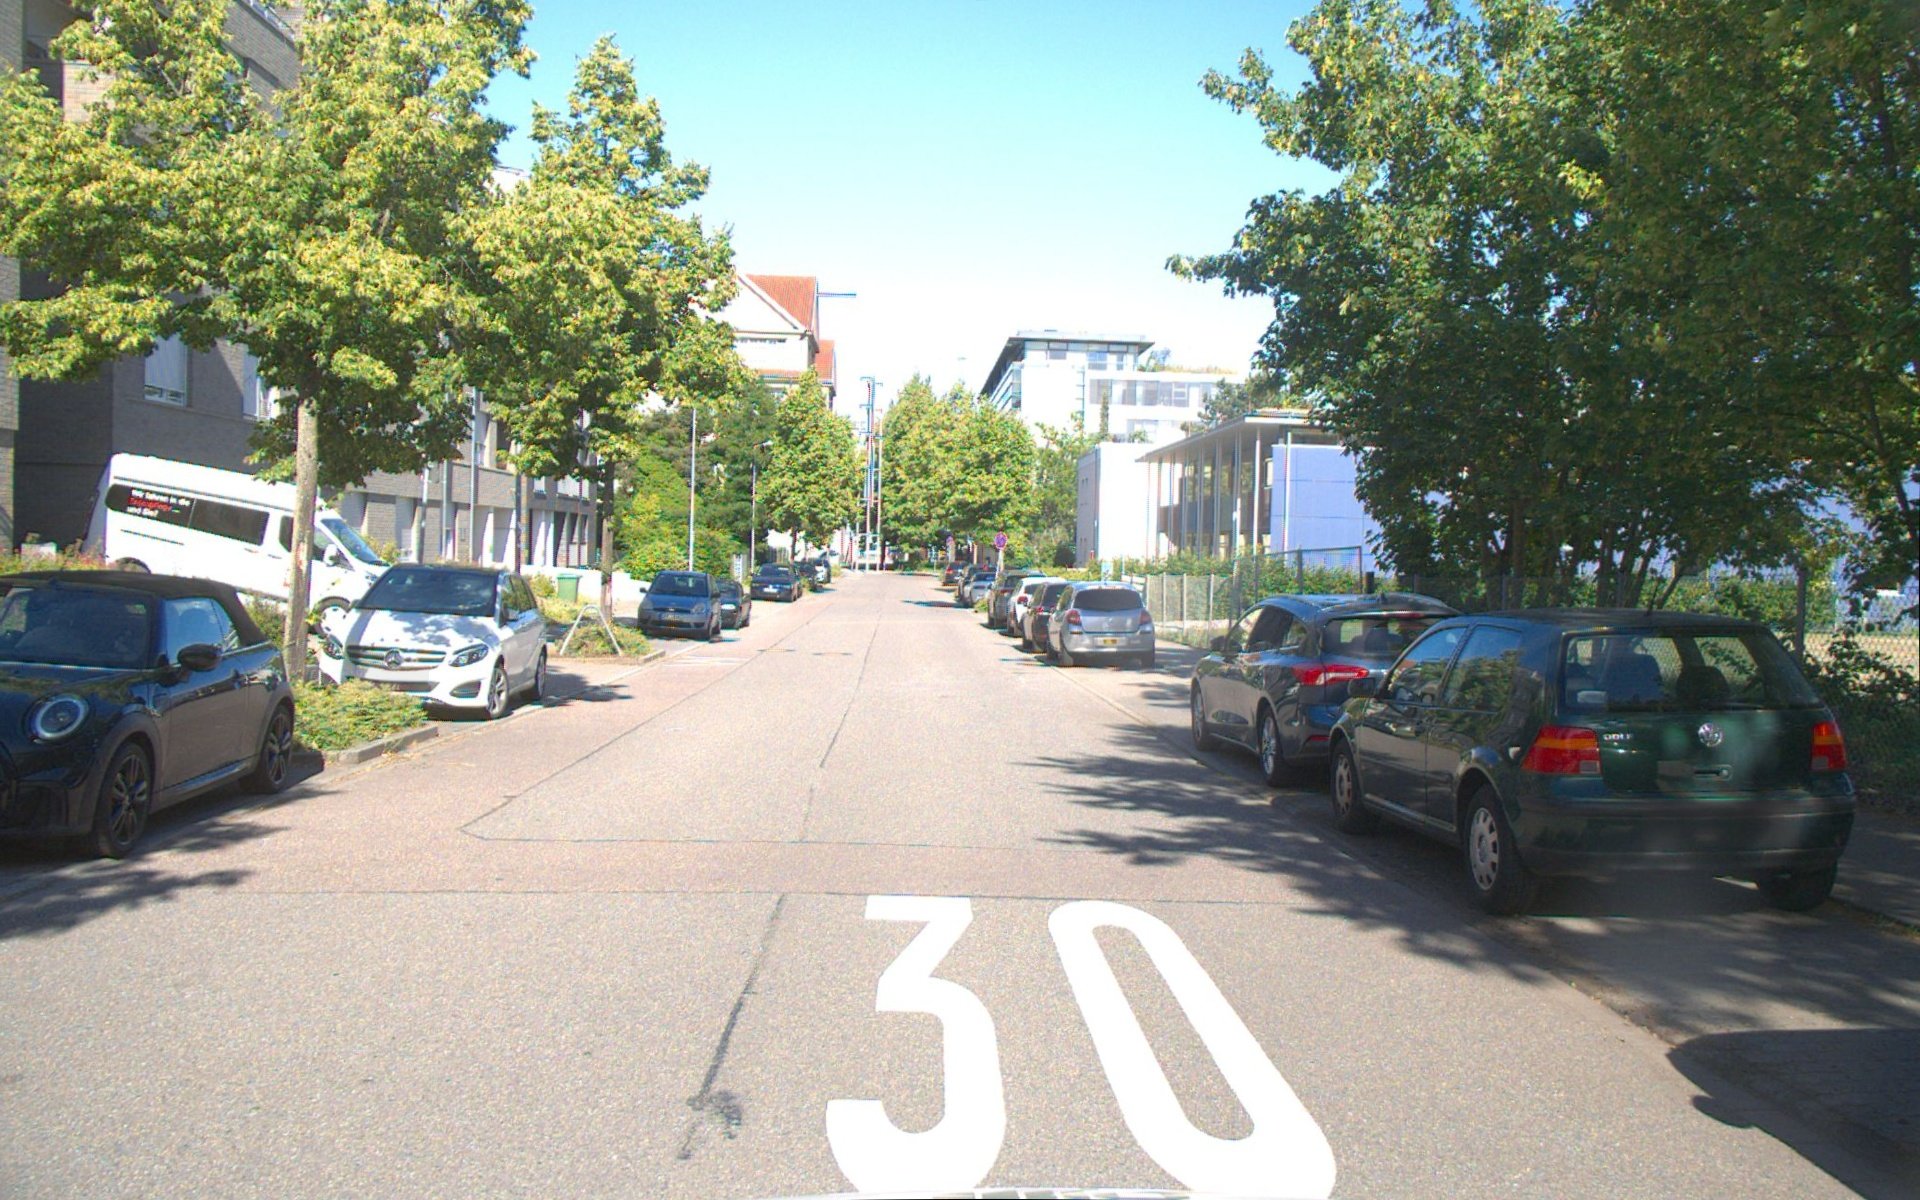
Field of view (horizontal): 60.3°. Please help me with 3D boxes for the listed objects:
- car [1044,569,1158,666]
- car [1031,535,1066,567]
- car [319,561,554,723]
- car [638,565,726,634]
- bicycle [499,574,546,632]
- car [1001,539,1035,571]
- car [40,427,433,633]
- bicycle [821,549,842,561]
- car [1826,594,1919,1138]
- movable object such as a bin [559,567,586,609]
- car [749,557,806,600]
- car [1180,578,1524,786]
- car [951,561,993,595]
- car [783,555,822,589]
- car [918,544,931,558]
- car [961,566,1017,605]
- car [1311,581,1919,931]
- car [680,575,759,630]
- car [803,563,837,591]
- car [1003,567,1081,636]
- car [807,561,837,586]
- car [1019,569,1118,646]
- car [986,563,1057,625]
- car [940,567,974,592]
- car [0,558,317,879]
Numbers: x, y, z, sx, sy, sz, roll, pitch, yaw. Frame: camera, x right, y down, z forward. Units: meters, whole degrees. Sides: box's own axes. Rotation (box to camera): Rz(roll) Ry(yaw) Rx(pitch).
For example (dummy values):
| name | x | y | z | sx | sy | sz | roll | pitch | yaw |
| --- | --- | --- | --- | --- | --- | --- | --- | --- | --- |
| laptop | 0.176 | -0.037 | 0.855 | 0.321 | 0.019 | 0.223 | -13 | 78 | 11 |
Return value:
| name | x | y | z | sx | sy | sz | roll | pitch | yaw |
| --- | --- | --- | --- | --- | --- | --- | --- | --- | --- |
| car | 2.545 | 0.275 | 30.616 | 1.629 | 1.539 | 4.000 | 1 | 2 | -2 |
| car | 5.875 | -3.269 | 110.012 | 1.953 | 2.048 | 3.999 | 1 | 2 | -2 |
| car | -5.688 | 0.365 | 18.470 | 1.627 | 1.559 | 4.283 | 1 | 1 | -6 |
| car | -6.429 | -0.049 | 38.509 | 1.579 | 1.490 | 3.872 | 1 | 1 | -3 |
| bicycle | -9.049 | 0.050 | 34.276 | 0.277 | 1.144 | 1.986 | 2 | 1 | 4 |
| car | 3.843 | -2.985 | 109.925 | 1.983 | 2.048 | 3.999 | 1 | 1 | -2 |
| car | -11.855 | -1.128 | 27.448 | 5.346 | 2.422 | 1.920 | 9 | 0 | -6 |
| bicycle | -9.402 | -3.292 | 120.984 | 1.439 | 0.857 | 0.335 | 1 | 2 | -6 |
| car | 3.428 | 0.738 | 2.937 | 1.586 | 1.476 | 4.090 | 1 | 0 | -1 |
| movable object such as a bin | -10.722 | -0.339 | 45.788 | 0.595 | 1.109 | 0.636 | 1 | 2 | -4 |
| car | -7.375 | -0.883 | 67.158 | 1.725 | 1.553 | 4.001 | 4 | 1 | 1 |
| car | 3.137 | 0.565 | 14.181 | 1.643 | 1.462 | 4.437 | 1 | 1 | -3 |
| car | 0.566 | -1.093 | 80.159 | 1.797 | 1.542 | 3.879 | 1 | 1 | -3 |
| car | -7.907 | -1.404 | 83.267 | 1.660 | 1.633 | 3.941 | 1 | 1 | -2 |
| car | -5.472 | -7.586 | 253.502 | 1.953 | 2.048 | 4.000 | 1 | 2 | -2 |
| car | 1.145 | -0.604 | 66.840 | 1.794 | 1.447 | 4.229 | -1 | 1 | -5 |
| car | 3.364 | 0.664 | 9.280 | 1.788 | 1.497 | 4.067 | 1 | 1 | -2 |
| car | -6.338 | 0.035 | 43.917 | 1.567 | 1.238 | 3.875 | 3 | 2 | -1 |
| car | -8.169 | -1.356 | 96.765 | 1.741 | 1.556 | 3.999 | 1 | 1 | -2 |
| car | 2.096 | 0.004 | 43.110 | 1.646 | 1.568 | 3.848 | 1 | 2 | -2 |
| car | -8.477 | -1.630 | 101.809 | 1.666 | 1.496 | 3.460 | 1 | 1 | -2 |
| car | 2.261 | 0.132 | 35.498 | 1.654 | 1.520 | 4.076 | 1 | 1 | -3 |
| car | 1.763 | -0.206 | 48.409 | 1.691 | 1.681 | 4.324 | -1 | 2 | -3 |
| car | -0.226 | -1.290 | 103.547 | 1.953 | 1.512 | 3.999 | 1 | 1 | -2 |
| car | -5.176 | 0.531 | 9.774 | 1.547 | 1.530 | 3.786 | 1 | 1 | -5 |
